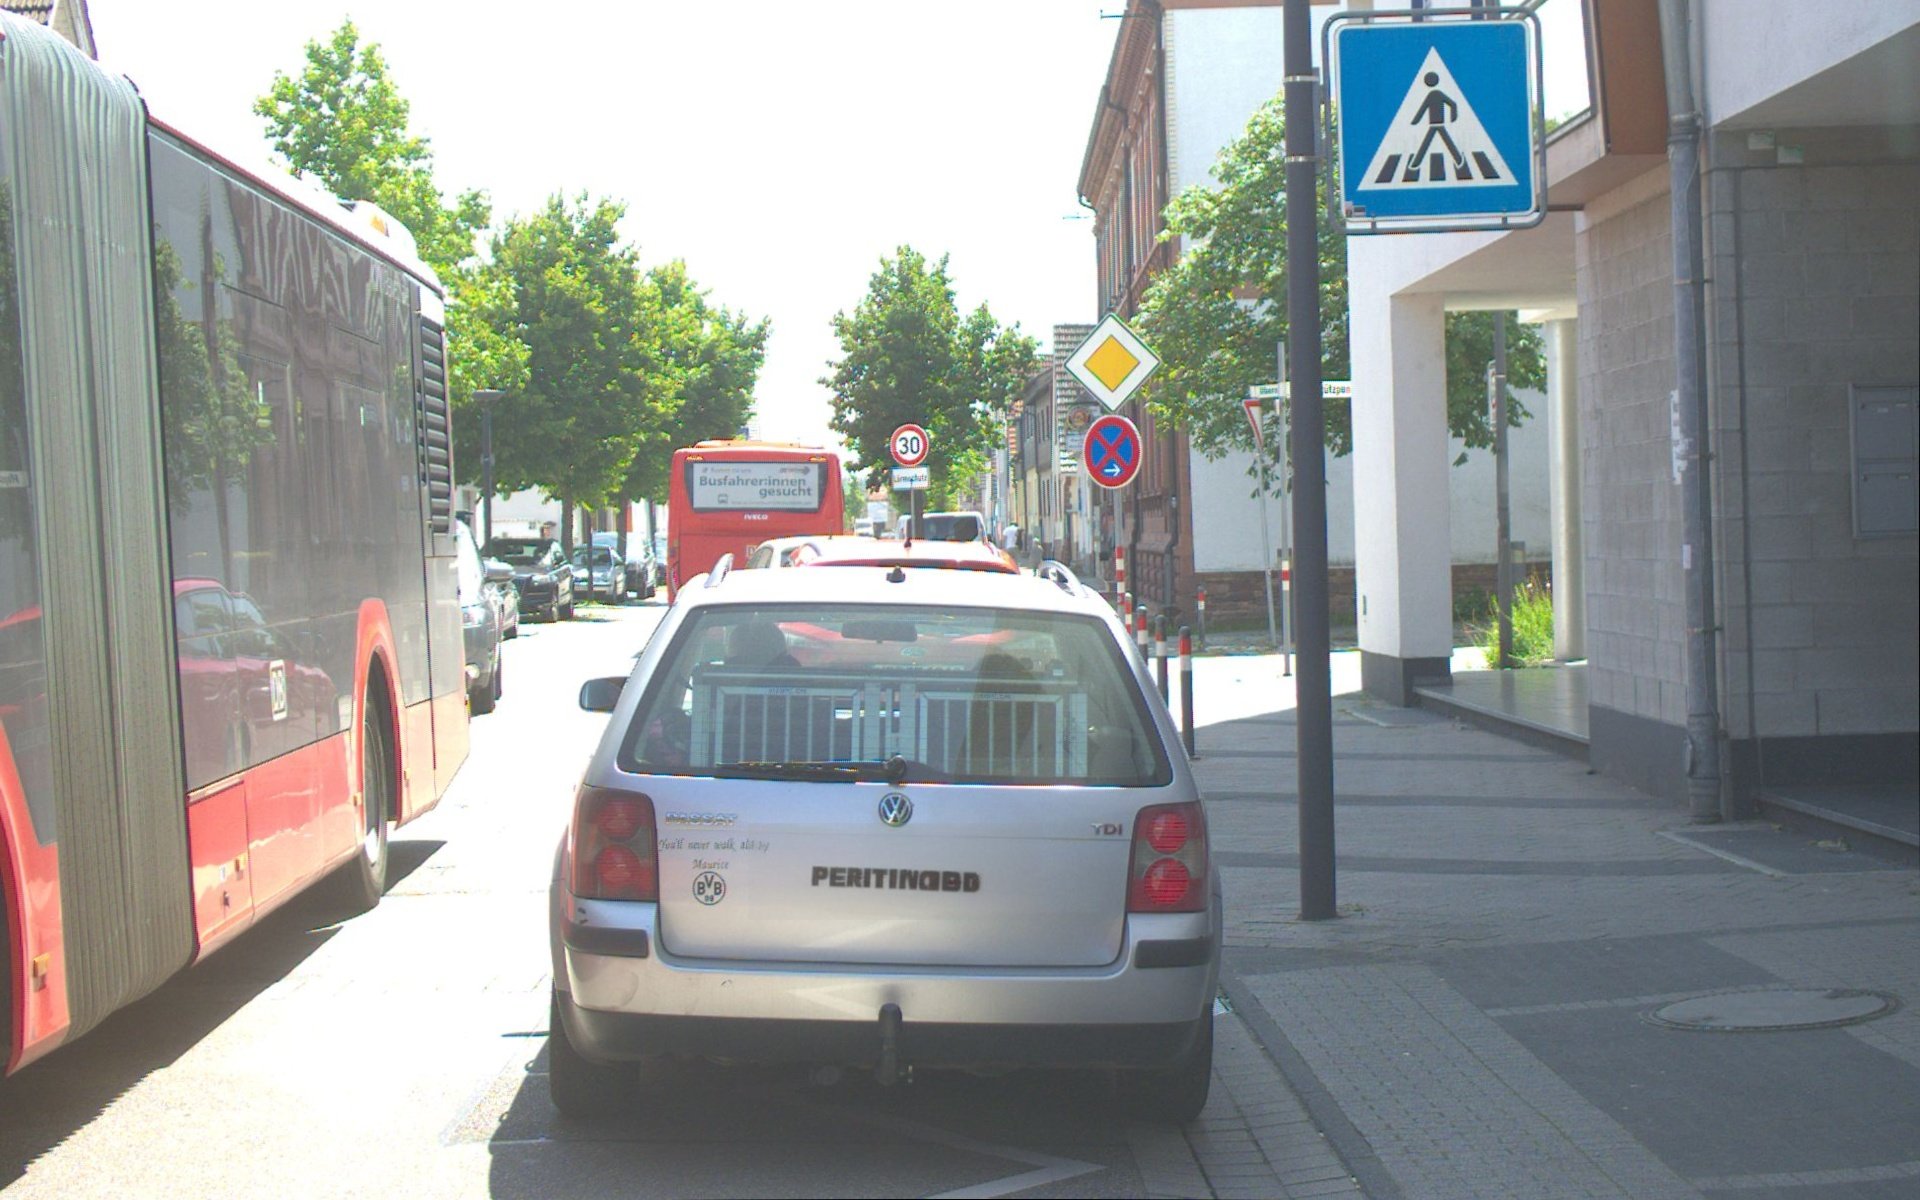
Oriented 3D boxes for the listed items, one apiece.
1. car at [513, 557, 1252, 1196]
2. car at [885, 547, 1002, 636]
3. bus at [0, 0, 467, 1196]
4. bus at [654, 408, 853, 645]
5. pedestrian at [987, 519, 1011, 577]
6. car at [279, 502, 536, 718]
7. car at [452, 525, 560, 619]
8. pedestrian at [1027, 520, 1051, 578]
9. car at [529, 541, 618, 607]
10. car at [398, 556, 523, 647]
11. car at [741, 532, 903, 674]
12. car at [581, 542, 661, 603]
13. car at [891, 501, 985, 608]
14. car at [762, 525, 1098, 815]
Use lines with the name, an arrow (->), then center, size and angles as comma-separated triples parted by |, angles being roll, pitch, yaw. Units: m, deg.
car -> -0.219, 0.619, 9.780 | 1.677, 1.425, 3.680 | 1, 1, -1
car -> -0.292, -0.165, 54.322 | 1.719, 1.304, 3.626 | -2, 1, -2
bus -> -3.635, -0.135, 8.537 | 2.668, 3.113, 17.808 | -2, 1, -2
bus -> -3.403, -1.120, 54.670 | 2.740, 3.287, 12.707 | -1, 1, -5
pedestrian -> 1.145, -1.511, 100.377 | 0.606, 1.661, 0.789 | -2, 1, -3
car -> -4.774, 0.042, 30.188 | 1.675, 1.710, 4.233 | -2, 1, -2
car -> -9.281, -0.590, 70.508 | 1.764, 1.831, 3.789 | -2, 1, -1
pedestrian -> 2.299, -1.489, 100.524 | 0.606, 1.661, 0.789 | -2, 1, -3
car -> -9.574, -0.665, 85.332 | 1.811, 1.553, 4.000 | -2, 1, -1
car -> -8.520, 0.001, 58.917 | 1.605, 1.433, 4.065 | -2, 1, -1
car -> -1.428, -0.003, 36.605 | 1.593, 1.425, 3.680 | 0, 1, 0
car -> -9.042, -0.755, 91.969 | 1.811, 1.553, 4.000 | -2, 1, -1
car -> -0.471, -0.929, 69.692 | 1.787, 2.075, 3.626 | -2, 1, -2
car -> -0.195, 0.327, 19.547 | 1.677, 1.425, 3.680 | -2, 1, -1
